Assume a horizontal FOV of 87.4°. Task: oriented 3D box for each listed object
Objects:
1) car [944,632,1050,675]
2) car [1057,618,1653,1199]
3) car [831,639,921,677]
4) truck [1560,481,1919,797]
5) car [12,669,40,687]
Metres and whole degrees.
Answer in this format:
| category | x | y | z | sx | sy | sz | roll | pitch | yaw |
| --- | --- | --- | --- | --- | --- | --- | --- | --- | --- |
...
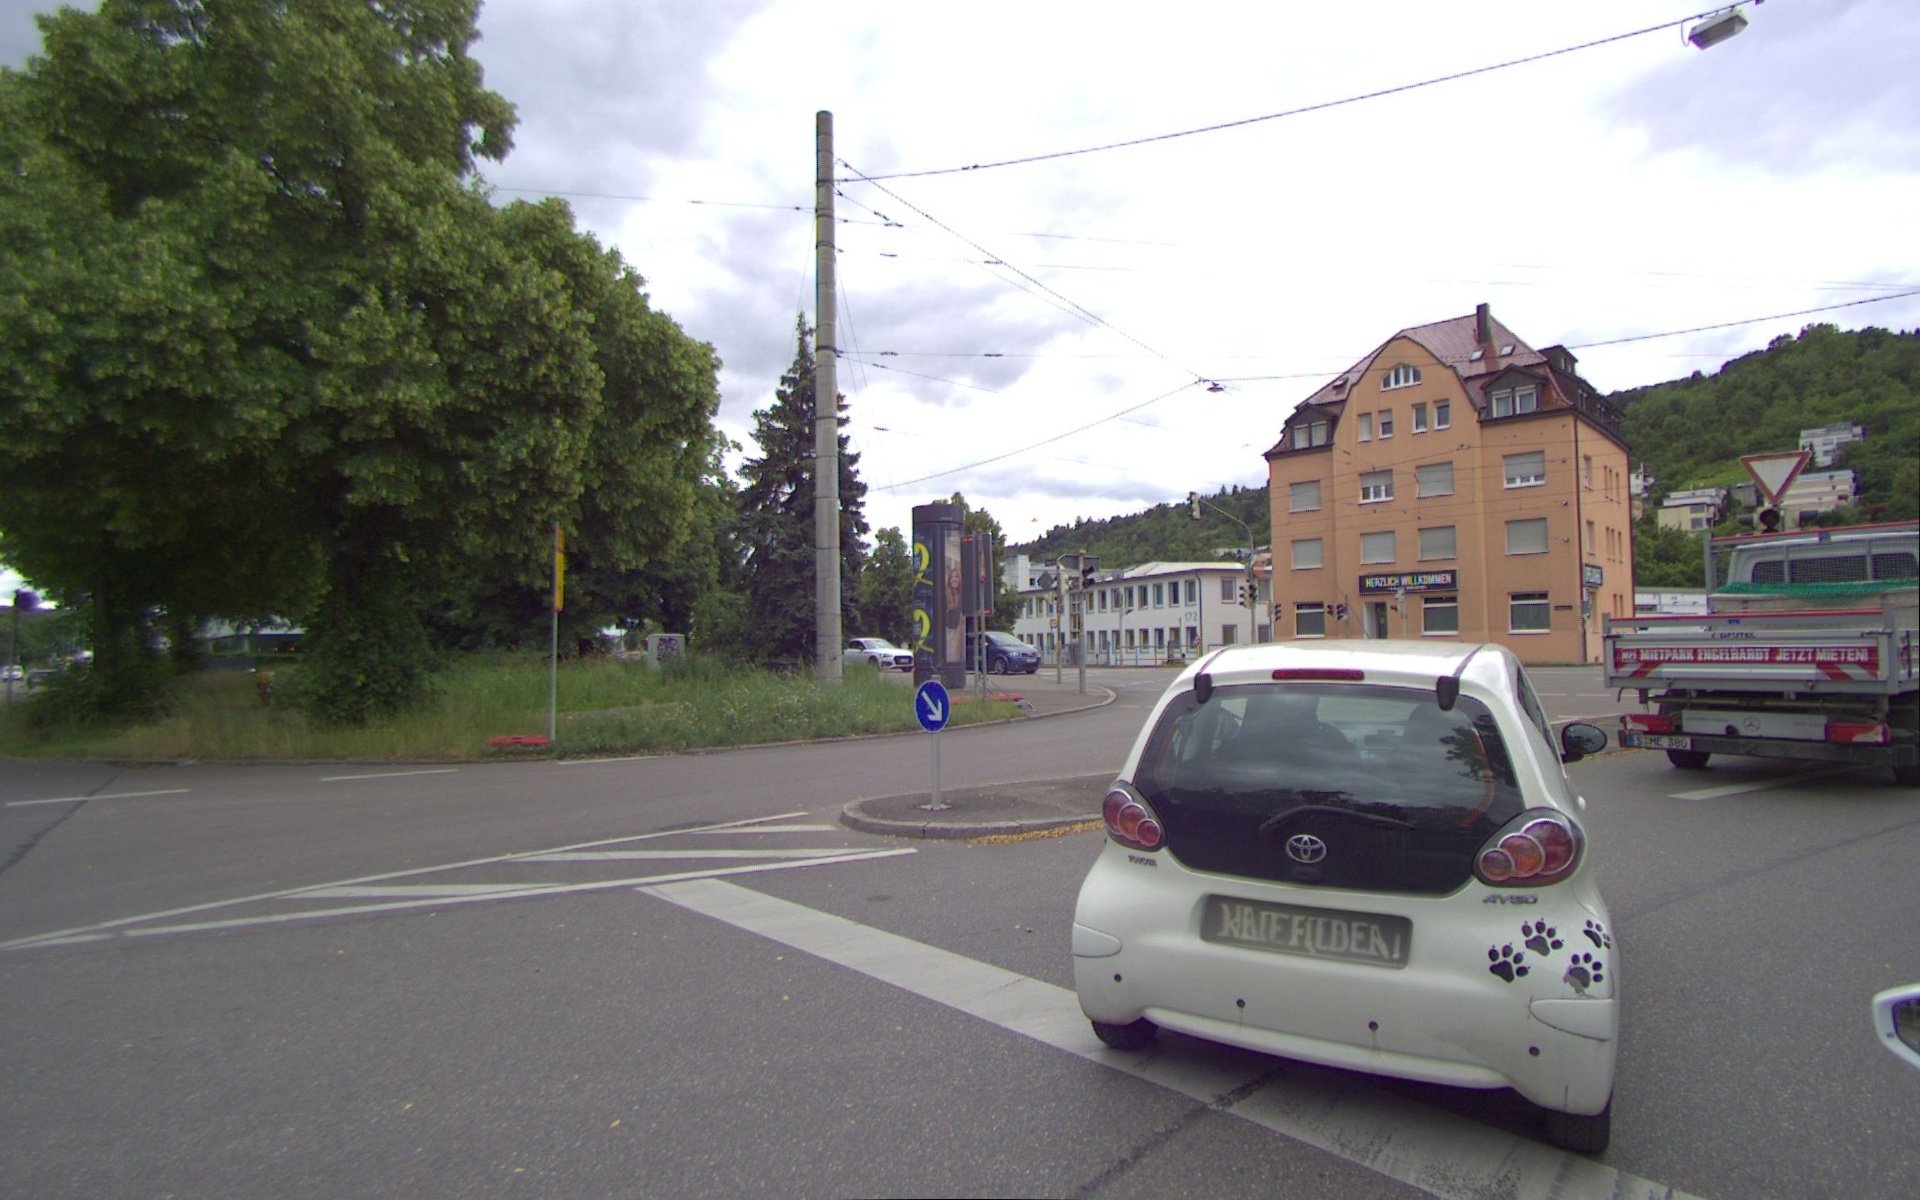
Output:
| category | x | y | z | sx | sy | sz | roll | pitch | yaw |
| --- | --- | --- | --- | --- | --- | --- | --- | --- | --- |
| car | 1.268 | 1.886 | 35.717 | 1.735 | 1.410 | 3.661 | 0 | -3 | -40 |
| car | 1.839 | 0.831 | 4.343 | 1.570 | 1.439 | 3.368 | 2 | 0 | 30 |
| car | -3.504 | 2.360 | 41.208 | 1.734 | 1.445 | 4.121 | 0 | -3 | -38 |
| truck | 8.764 | 0.333 | 10.348 | 5.597 | 2.453 | 2.299 | 0 | -2 | -35 |
| car | -109.725 | 9.100 | 118.015 | 1.815 | 1.970 | 4.526 | 0 | -3 | -35 |
